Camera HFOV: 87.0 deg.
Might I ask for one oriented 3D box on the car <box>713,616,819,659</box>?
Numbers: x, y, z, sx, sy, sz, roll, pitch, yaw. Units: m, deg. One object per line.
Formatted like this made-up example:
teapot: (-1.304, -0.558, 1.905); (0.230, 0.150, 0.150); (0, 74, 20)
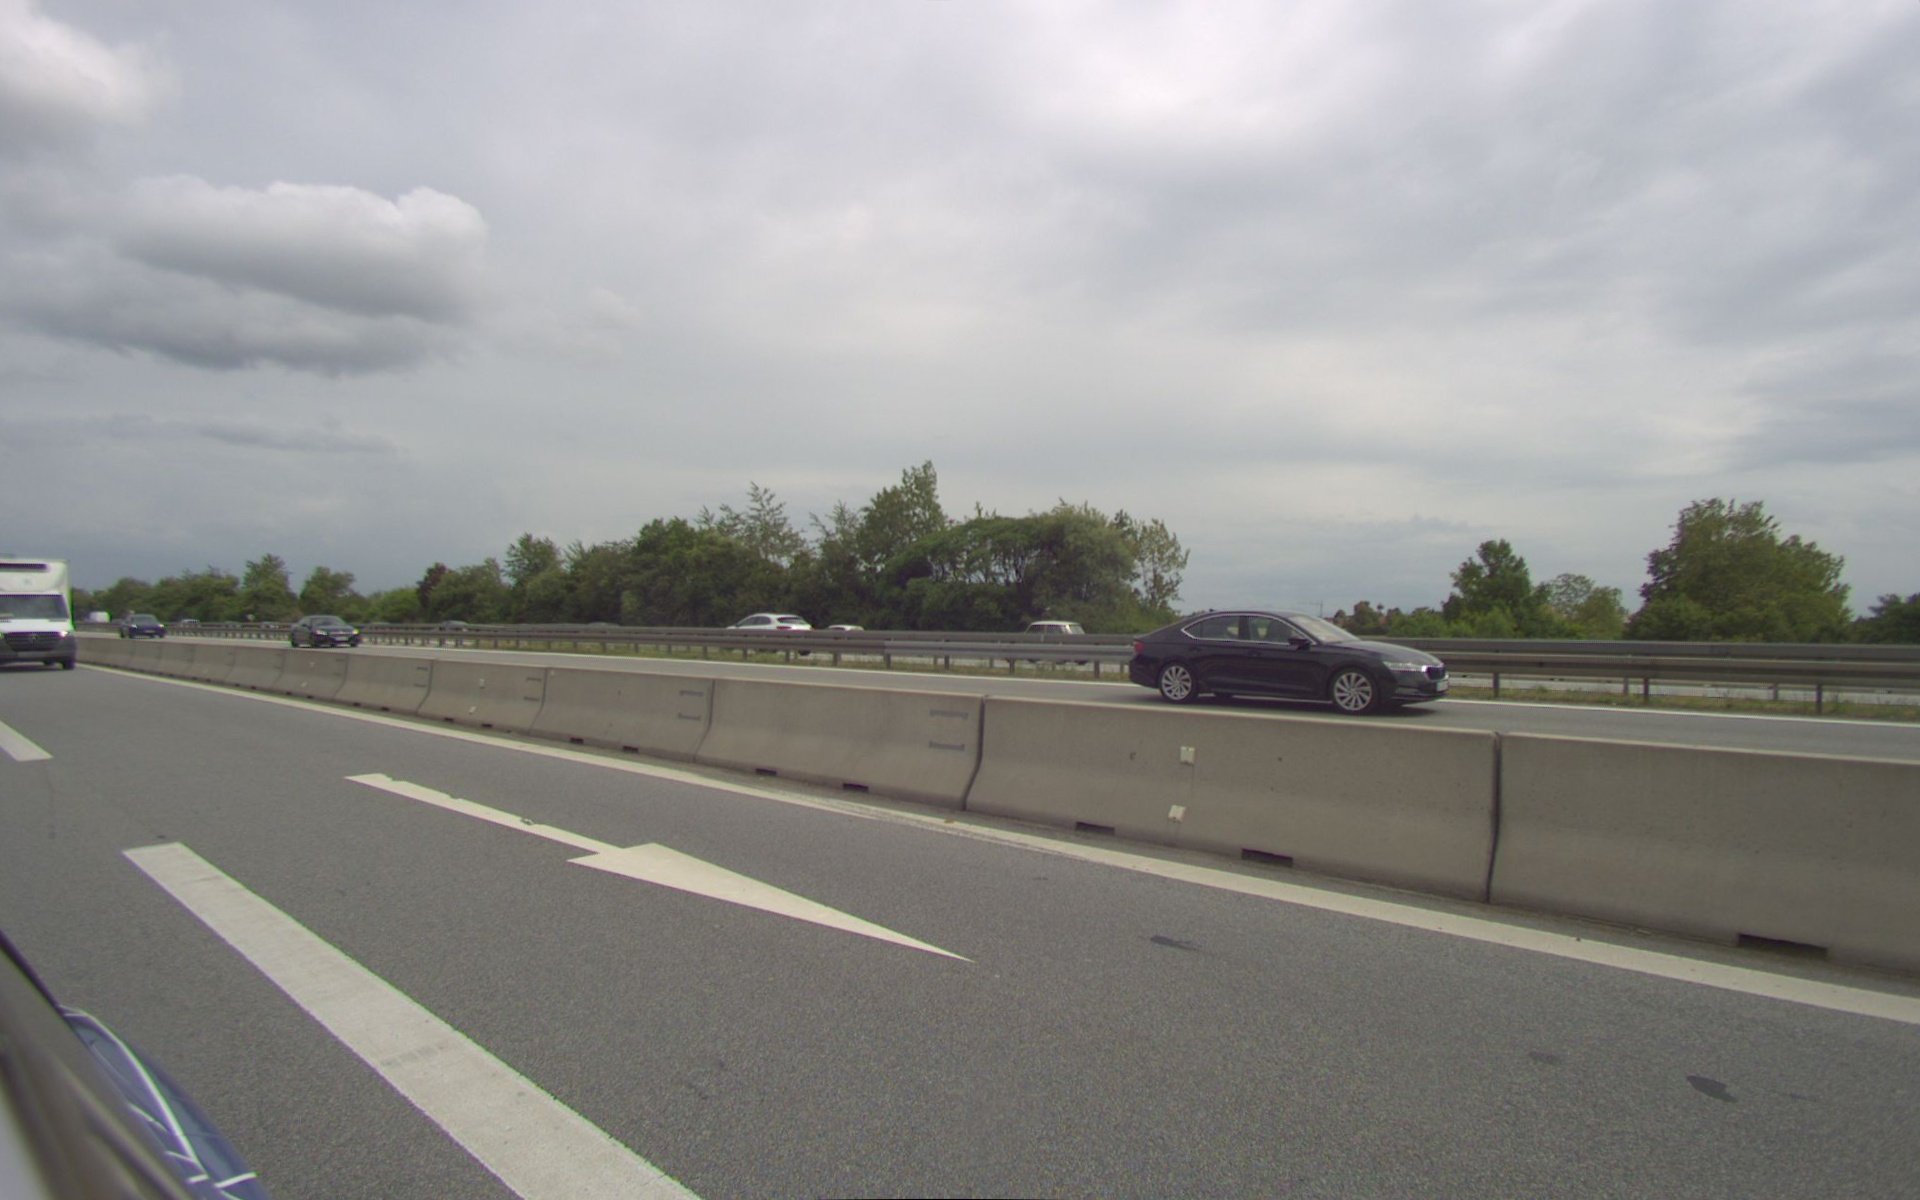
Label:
car: (-7.186, 1.342, 37.317); (4.001, 1.480, 1.670); (-1, -1, 40)

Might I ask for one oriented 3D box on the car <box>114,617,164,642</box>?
car: (-56.227, 1.999, 69.281); (4.381, 1.674, 1.973); (-1, -1, 41)

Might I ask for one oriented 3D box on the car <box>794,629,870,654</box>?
car: (-6.686, 2.148, 52.504); (4.001, 1.201, 1.670); (-1, -1, 40)

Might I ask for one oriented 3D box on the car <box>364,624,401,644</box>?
car: (-53.624, 3.169, 93.916); (3.997, 1.741, 1.670); (-1, 0, 40)

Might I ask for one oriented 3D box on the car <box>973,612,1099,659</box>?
car: (2.522, 1.152, 34.113); (4.001, 1.480, 1.670); (-1, -1, 40)

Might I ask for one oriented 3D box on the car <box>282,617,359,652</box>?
car: (-28.576, 1.515, 45.201); (4.382, 1.461, 1.754); (-1, -1, 41)

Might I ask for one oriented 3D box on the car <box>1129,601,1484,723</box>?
car: (5.021, 0.817, 15.030); (4.565, 1.539, 2.038); (-1, -1, 41)

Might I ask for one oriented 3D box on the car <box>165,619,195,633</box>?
car: (-85.908, 2.883, 111.458); (3.715, 1.531, 1.716); (-1, -1, 38)

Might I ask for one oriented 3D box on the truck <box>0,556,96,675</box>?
truck: (-27.144, 0.461, 29.124); (6.363, 3.113, 2.380); (-1, -1, 39)
